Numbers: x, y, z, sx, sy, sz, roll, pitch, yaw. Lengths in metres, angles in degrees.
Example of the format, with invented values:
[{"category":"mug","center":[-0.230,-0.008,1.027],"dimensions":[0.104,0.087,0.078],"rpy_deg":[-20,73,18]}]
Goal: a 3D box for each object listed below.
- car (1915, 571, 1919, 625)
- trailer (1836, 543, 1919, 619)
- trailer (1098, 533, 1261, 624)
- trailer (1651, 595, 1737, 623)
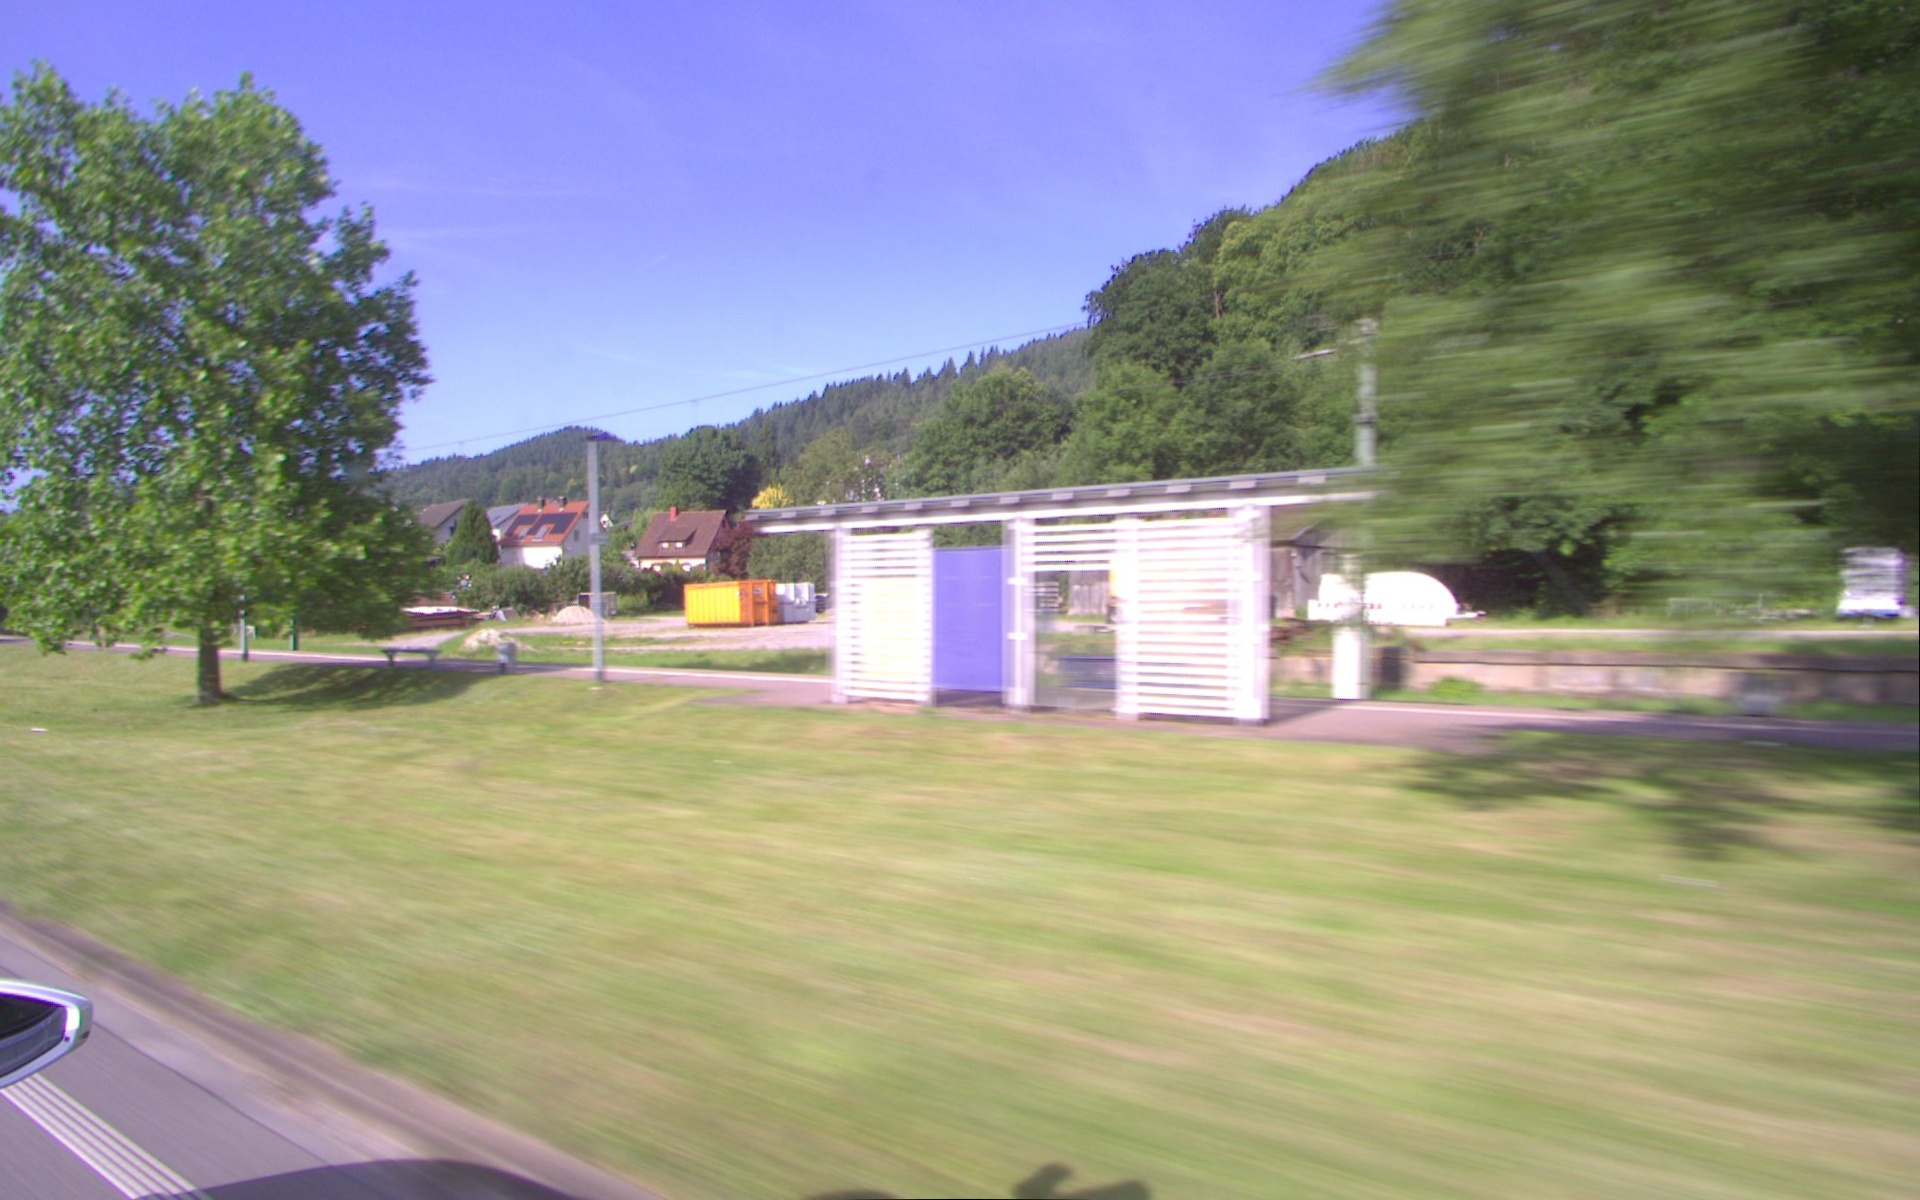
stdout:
[{"category":"car","center":[28.639,-0.066,28.579],"dimensions":[3.573,1.506,1.656],"rpy_deg":[-1,0,-41]},{"category":"trailer","center":[28.742,-0.528,31.021],"dimensions":[3.661,2.218,1.804],"rpy_deg":[0,0,-39]},{"category":"trailer","center":[10.217,-0.888,47.424],"dimensions":[2.584,3.945,7.672],"rpy_deg":[-1,0,-38]},{"category":"trailer","center":[25.978,0.313,35.424],"dimensions":[3.036,0.927,1.723],"rpy_deg":[0,-1,-39]}]
